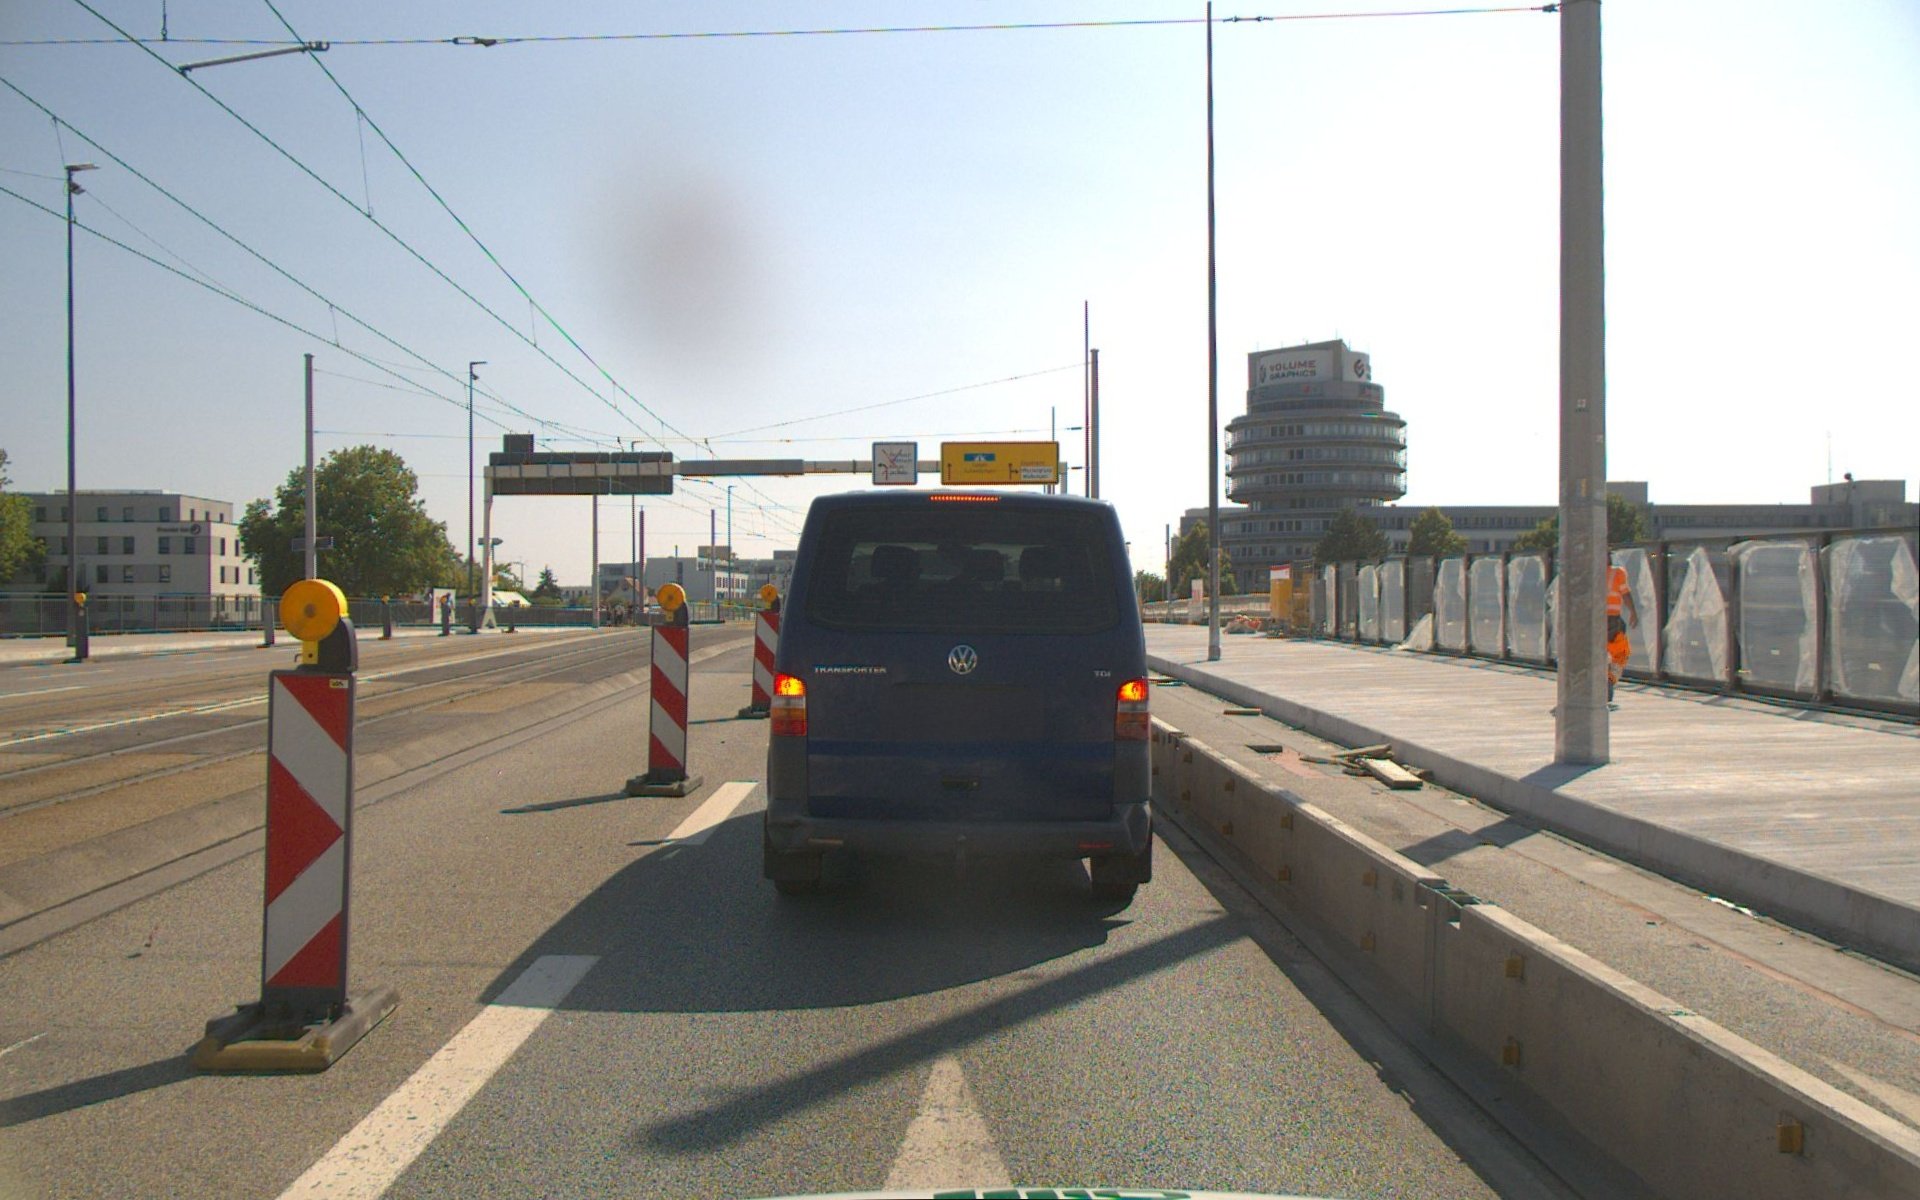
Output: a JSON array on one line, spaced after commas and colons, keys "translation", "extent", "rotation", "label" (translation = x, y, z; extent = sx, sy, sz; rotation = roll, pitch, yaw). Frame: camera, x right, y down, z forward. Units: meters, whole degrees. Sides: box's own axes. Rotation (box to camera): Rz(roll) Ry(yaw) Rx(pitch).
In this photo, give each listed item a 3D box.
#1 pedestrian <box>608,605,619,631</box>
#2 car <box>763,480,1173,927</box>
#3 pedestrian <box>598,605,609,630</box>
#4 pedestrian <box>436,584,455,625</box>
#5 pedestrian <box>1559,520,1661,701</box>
[{"translation": [-25.169, 1.308, 120.123], "extent": [0.621, 1.805, 0.752], "rotation": [1, 0, -1], "label": "pedestrian"}, {"translation": [0.035, 0.443, 9.221], "extent": [1.778, 1.939, 4.054], "rotation": [0, 0, 0], "label": "car"}, {"translation": [-25.887, 1.256, 120.028], "extent": [0.621, 1.783, 0.752], "rotation": [1, 0, -2], "label": "pedestrian"}, {"translation": [-24.143, 0.220, 77.639], "extent": [0.621, 1.926, 0.752], "rotation": [1, 0, -1], "label": "pedestrian"}, {"translation": [7.280, 0.113, 18.557], "extent": [0.766, 1.969, 0.799], "rotation": [-2, 0, -1], "label": "pedestrian"}]
